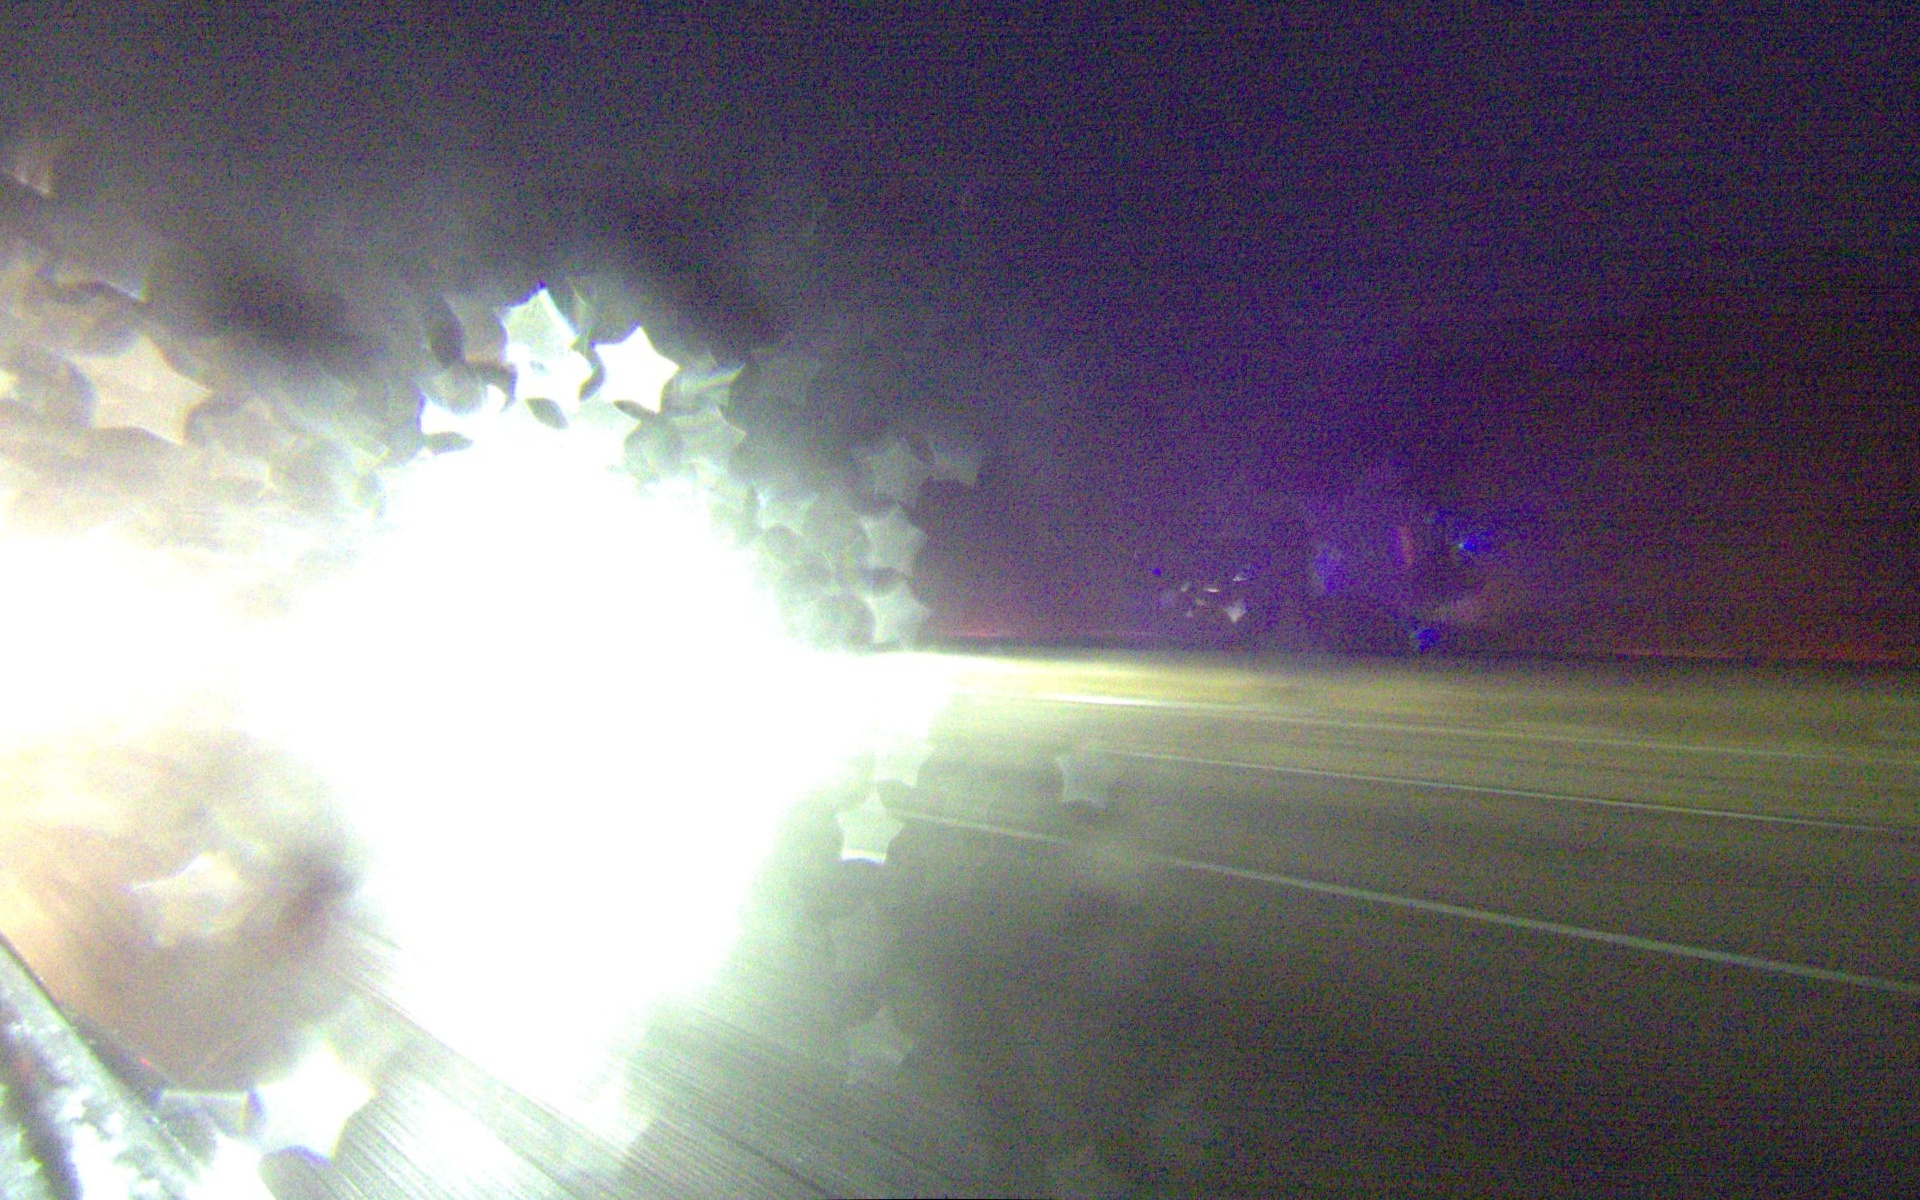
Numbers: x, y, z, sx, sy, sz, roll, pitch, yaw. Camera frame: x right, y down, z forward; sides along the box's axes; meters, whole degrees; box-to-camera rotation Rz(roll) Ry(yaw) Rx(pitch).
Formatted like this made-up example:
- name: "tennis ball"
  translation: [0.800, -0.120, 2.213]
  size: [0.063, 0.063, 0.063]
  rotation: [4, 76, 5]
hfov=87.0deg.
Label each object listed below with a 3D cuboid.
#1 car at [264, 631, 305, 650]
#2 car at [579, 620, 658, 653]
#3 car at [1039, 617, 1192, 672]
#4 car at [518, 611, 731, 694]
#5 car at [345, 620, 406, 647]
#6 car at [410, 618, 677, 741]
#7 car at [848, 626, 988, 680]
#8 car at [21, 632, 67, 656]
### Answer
- name: "car"
  translation: [-59.247, 3.513, 88.721]
  size: [4.457, 1.569, 1.861]
  rotation: [-1, 0, 40]
- name: "car"
  translation: [-17.628, 1.849, 52.110]
  size: [4.458, 1.569, 1.860]
  rotation: [-1, 0, 41]
- name: "car"
  translation: [4.811, 1.338, 31.669]
  size: [4.459, 1.569, 1.860]
  rotation: [-1, 0, 42]
- name: "car"
  translation: [-7.071, 0.989, 20.998]
  size: [5.165, 1.487, 1.972]
  rotation: [-1, 0, 43]
- name: "car"
  translation: [-36.441, 2.066, 63.070]
  size: [4.457, 1.569, 1.861]
  rotation: [-1, 0, 40]
- name: "car"
  translation: [-6.024, 1.009, 14.447]
  size: [3.999, 1.452, 1.973]
  rotation: [-1, 0, 42]
- name: "car"
  translation: [-1.411, 1.653, 32.839]
  size: [4.457, 1.569, 1.861]
  rotation: [-1, 0, 40]
- name: "car"
  translation: [-64.382, 3.061, 71.102]
  size: [4.586, 1.572, 1.972]
  rotation: [-1, 0, 42]
